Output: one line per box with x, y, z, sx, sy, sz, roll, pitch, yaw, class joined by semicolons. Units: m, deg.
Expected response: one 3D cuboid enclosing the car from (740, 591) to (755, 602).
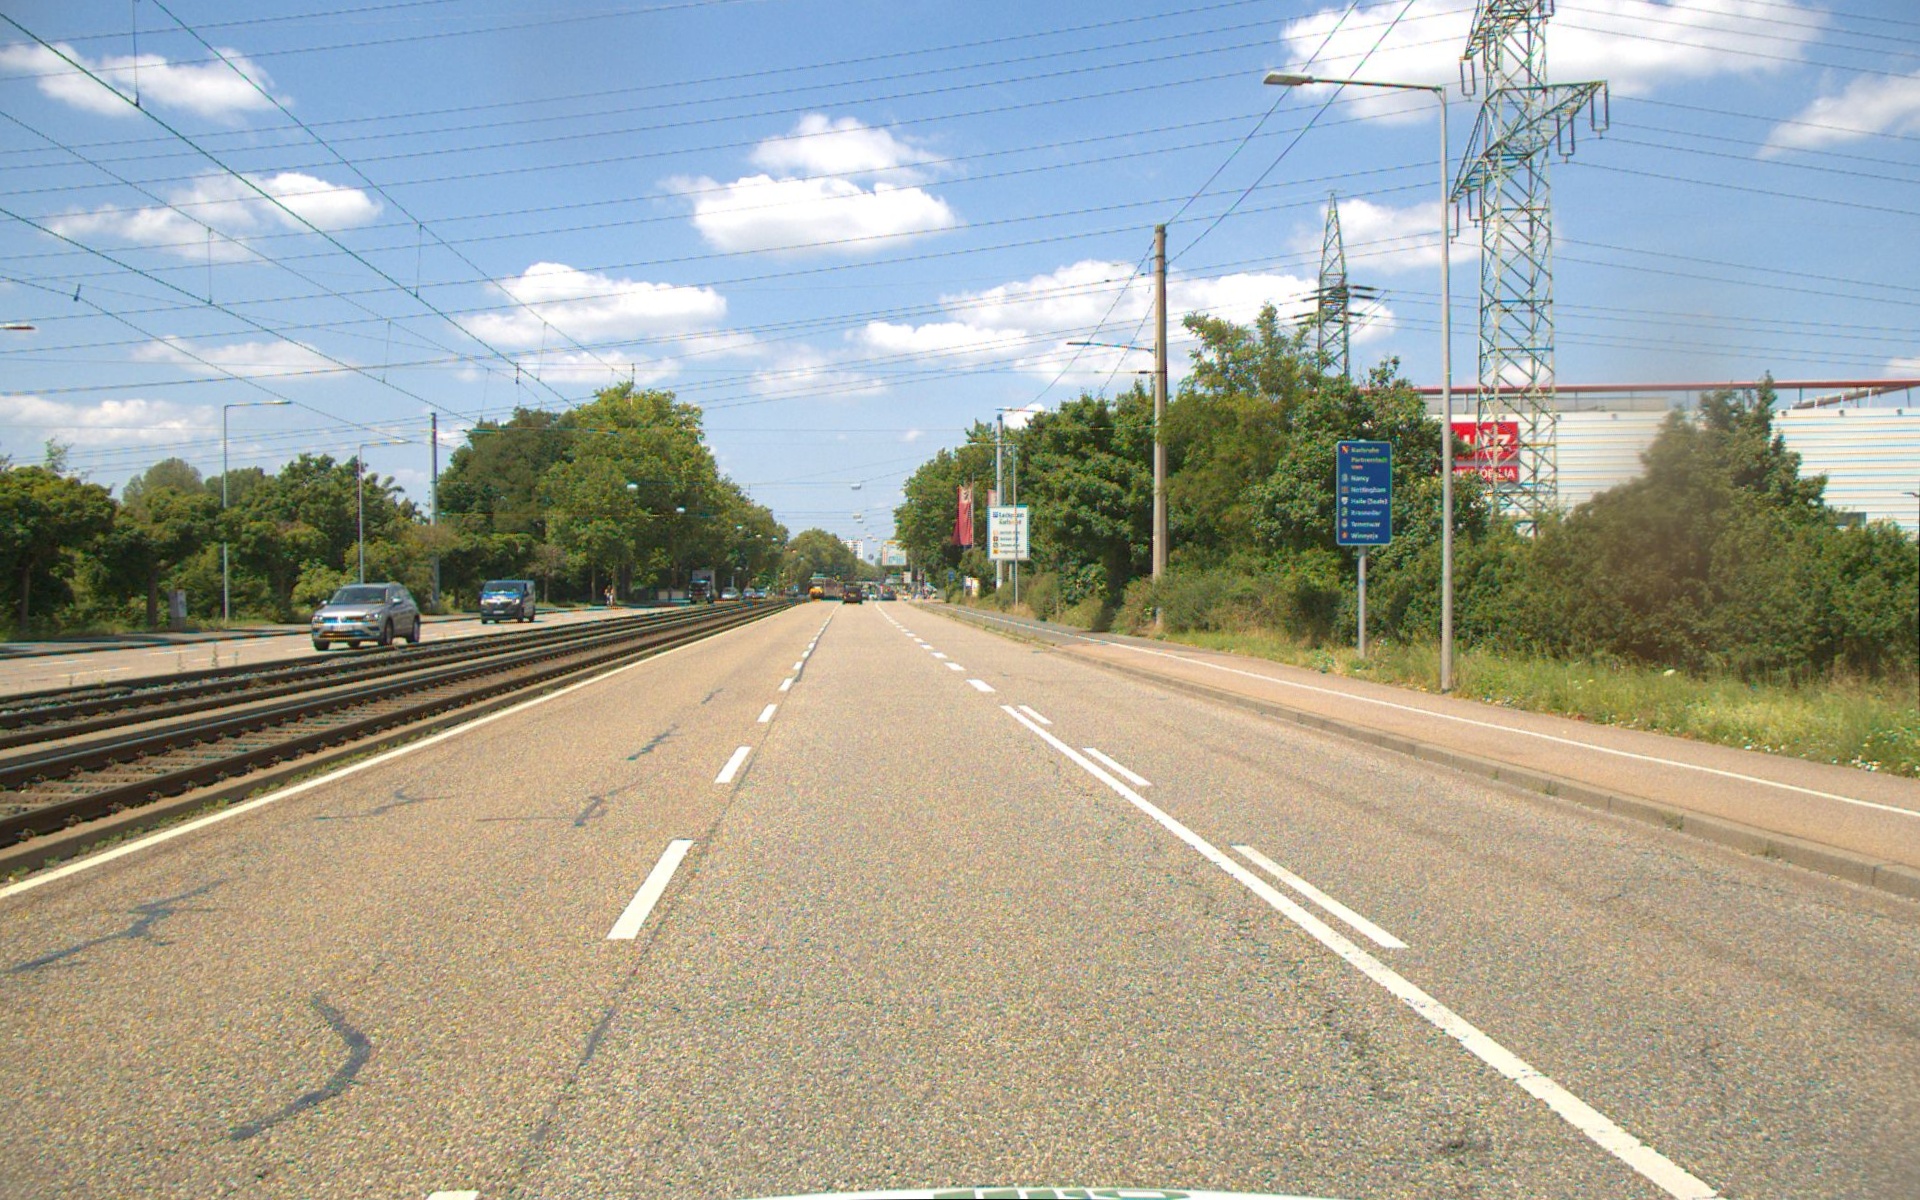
-27.822;-0.493;217.088;1.604;1.446;4.125;-1;1;-3;car

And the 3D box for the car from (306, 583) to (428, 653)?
-15.197;0.405;42.622;1.766;1.653;4.490;-2;1;-4;car

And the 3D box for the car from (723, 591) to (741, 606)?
-25.883;-0.165;187.717;1.718;1.562;3.953;-1;1;-5;car

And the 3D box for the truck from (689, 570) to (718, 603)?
-25.625;-1.353;165.467;2.204;3.293;6.039;-1;0;-2;truck

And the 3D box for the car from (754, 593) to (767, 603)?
-28.587;-0.304;236.666;1.605;1.461;3.718;-2;0;-4;car

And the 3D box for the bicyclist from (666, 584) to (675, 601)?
-28.465;-0.762;162.797;0.610;1.645;1.062;2;0;2;bicyclist

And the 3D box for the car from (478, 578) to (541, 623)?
-20.776;0.000;76.481;1.820;1.961;5.004;-2;1;-4;car

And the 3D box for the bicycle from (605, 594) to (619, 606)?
-27.510;0.005;130.796;0.637;0.874;2.120;1;0;0;bicycle

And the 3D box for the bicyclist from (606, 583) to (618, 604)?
-27.498;-0.531;130.760;0.637;1.648;1.155;1;0;0;bicyclist

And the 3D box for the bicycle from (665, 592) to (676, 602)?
-28.477;-0.289;162.846;0.610;0.996;2.055;2;0;2;bicycle

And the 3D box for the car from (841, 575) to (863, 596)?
-9.622;-1.275;146.838;1.862;1.837;3.973;1;0;-4;car
